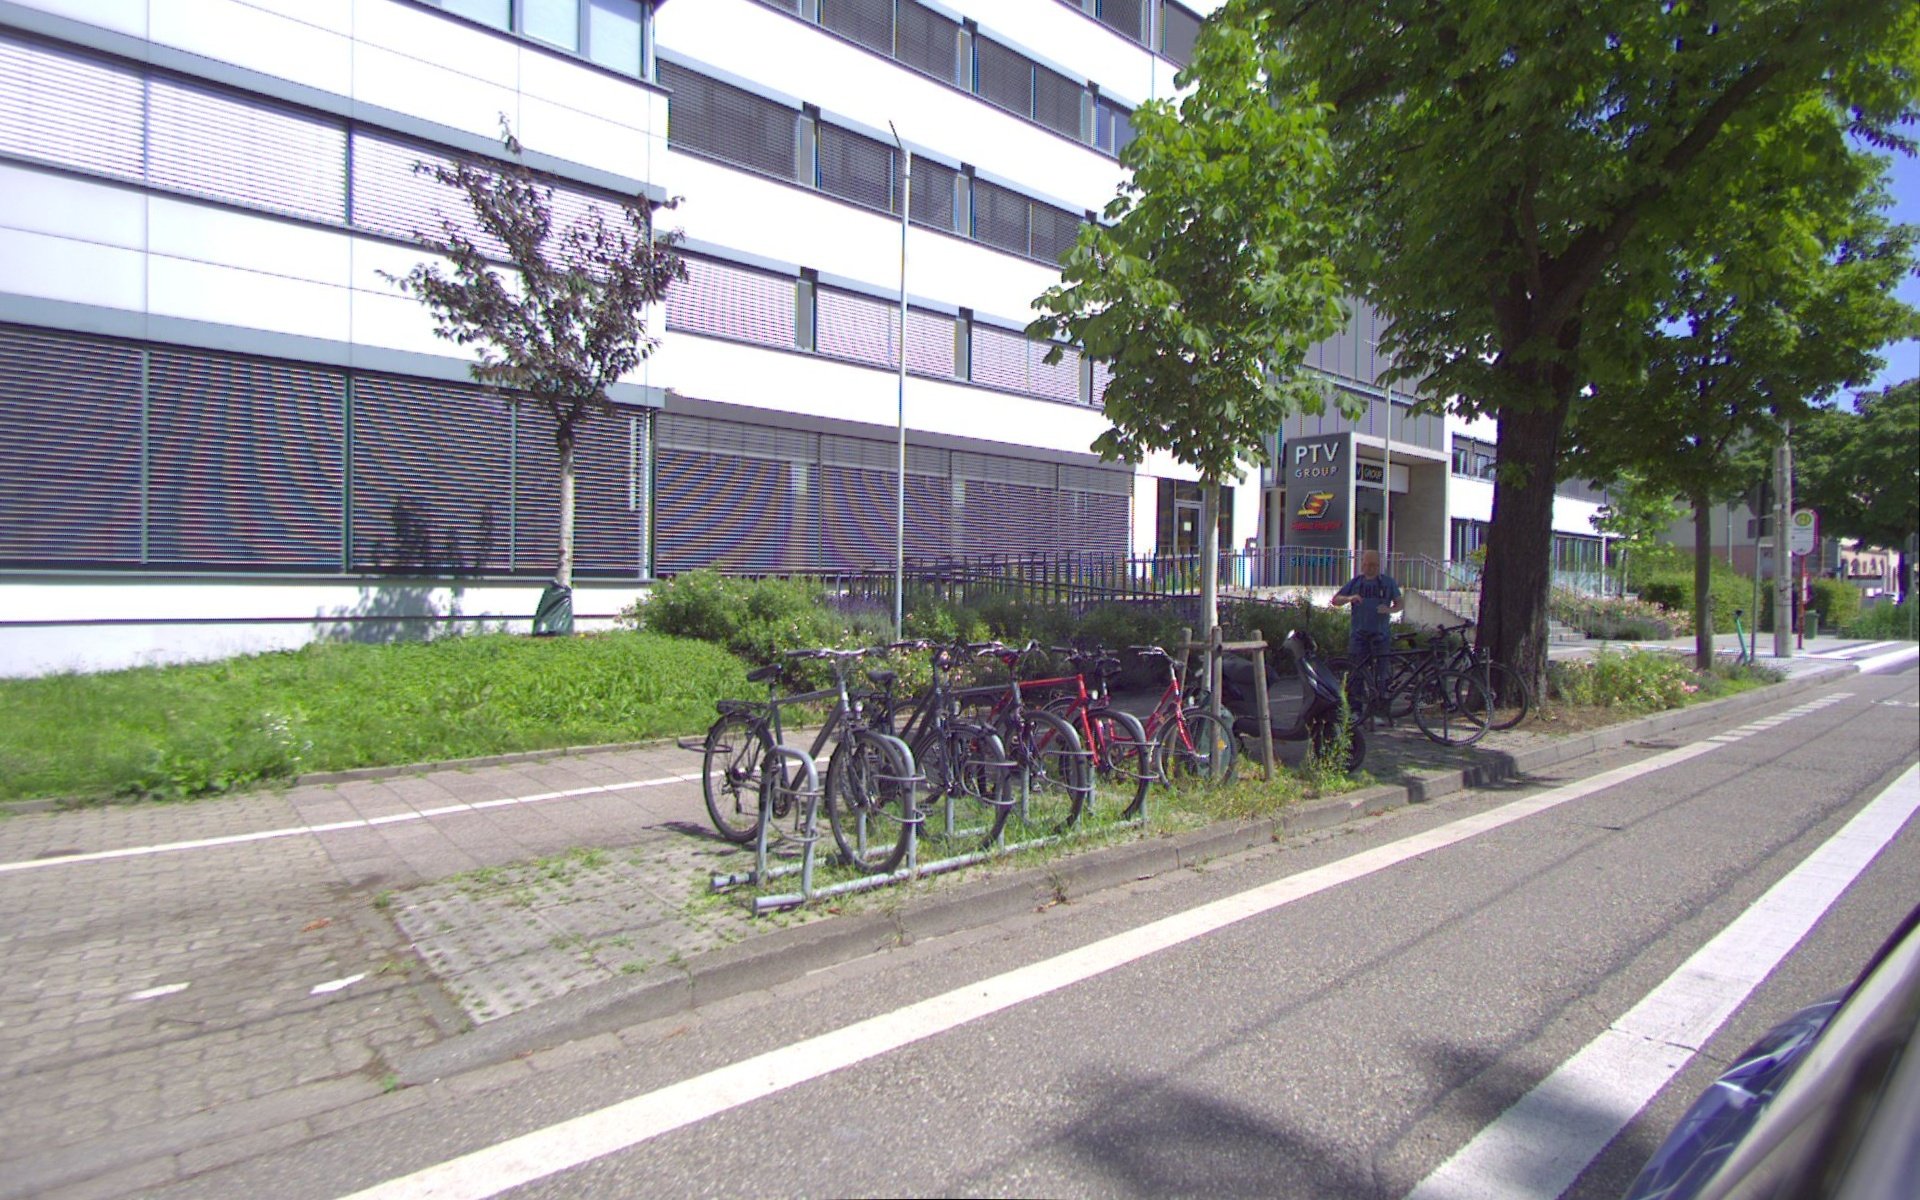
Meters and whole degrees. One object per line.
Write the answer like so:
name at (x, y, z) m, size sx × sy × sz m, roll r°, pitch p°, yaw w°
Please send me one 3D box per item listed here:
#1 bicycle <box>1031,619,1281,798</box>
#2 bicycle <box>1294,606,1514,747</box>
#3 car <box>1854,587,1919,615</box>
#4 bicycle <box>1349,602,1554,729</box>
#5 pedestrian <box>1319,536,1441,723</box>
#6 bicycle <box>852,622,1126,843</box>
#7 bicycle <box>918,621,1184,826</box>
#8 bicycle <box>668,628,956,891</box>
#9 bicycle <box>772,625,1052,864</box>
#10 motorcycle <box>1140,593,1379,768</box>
bicycle at (1.372, 0.714, 7.387) m, size 0.560 × 1.125 × 1.809 m, roll 0°, pitch 0°, yaw -43°
bicycle at (4.240, 0.673, 9.759) m, size 1.813 × 1.179 × 0.700 m, roll 2°, pitch 1°, yaw 43°
car at (59.215, 0.060, 63.012) m, size 1.967 × 1.764 × 5.204 m, roll 0°, pitch 0°, yaw -43°
bicycle at (5.148, 0.637, 10.673) m, size 1.813 × 1.179 × 0.700 m, roll 2°, pitch 1°, yaw 43°
pedestrian at (4.319, 0.286, 10.469) m, size 0.967 × 1.855 × 0.787 m, roll 0°, pitch 0°, yaw 7°
bicycle at (0.114, 0.716, 6.185) m, size 0.560 × 1.125 × 1.809 m, roll 0°, pitch 0°, yaw -43°
bicycle at (0.532, 0.719, 6.584) m, size 0.560 × 1.125 × 1.809 m, roll 0°, pitch 0°, yaw -43°
bicycle at (-0.854, 0.731, 5.361) m, size 0.560 × 1.125 × 1.842 m, roll 0°, pitch 0°, yaw -43°
bicycle at (-0.339, 0.727, 5.792) m, size 0.560 × 1.125 × 1.809 m, roll 0°, pitch 0°, yaw -43°
motorcycle at (2.495, 0.608, 8.571) m, size 1.813 × 1.293 × 0.710 m, roll 2°, pitch 1°, yaw 43°
